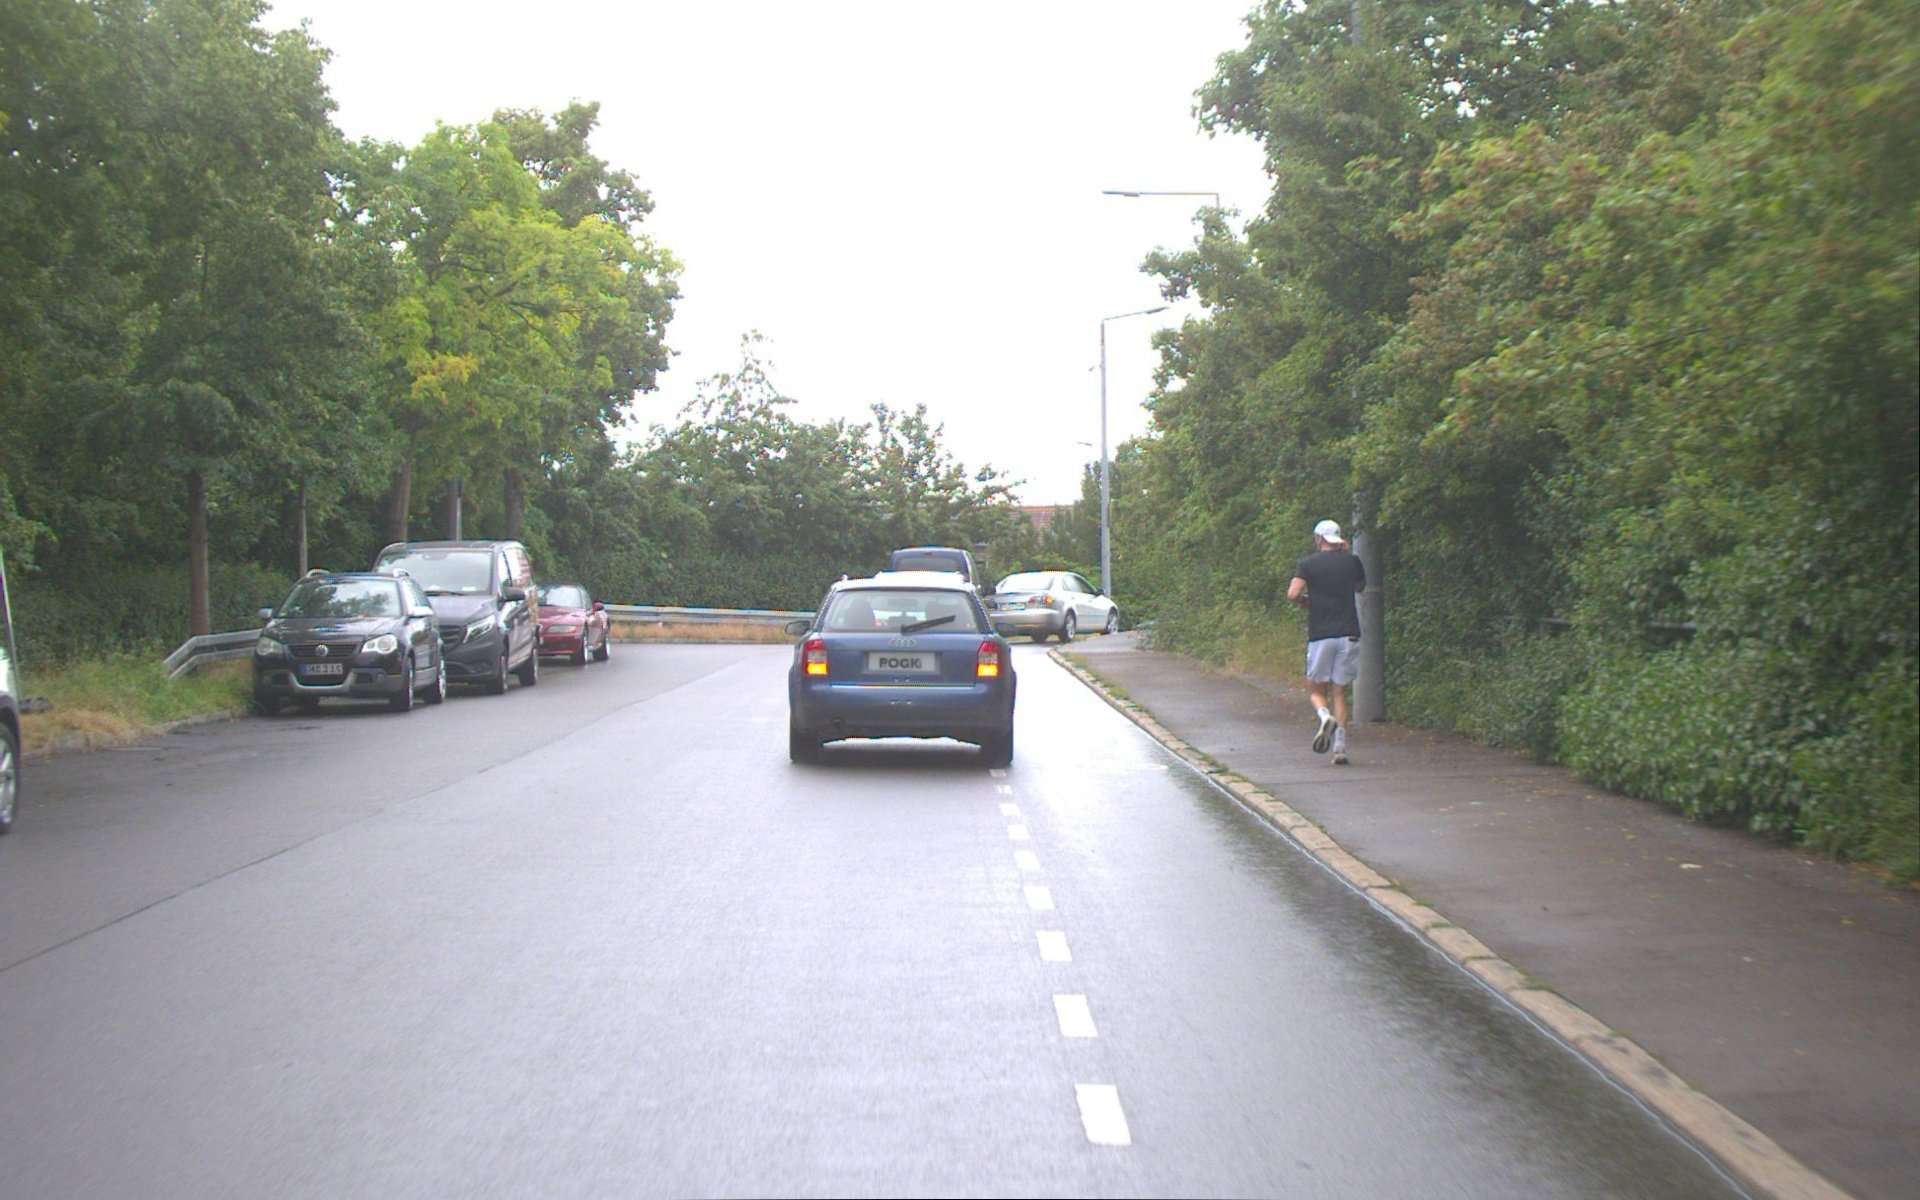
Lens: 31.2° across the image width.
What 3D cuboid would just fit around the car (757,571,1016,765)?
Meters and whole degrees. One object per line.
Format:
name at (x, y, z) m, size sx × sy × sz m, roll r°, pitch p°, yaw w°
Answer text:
car at (-0.659, 0.539, 27.470) m, size 1.747 × 1.403 × 4.000 m, roll -1°, pitch -1°, yaw -5°

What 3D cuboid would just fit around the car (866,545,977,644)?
car at (-0.684, -0.091, 59.402) m, size 1.822 × 1.611 × 3.785 m, roll -1°, pitch 0°, yaw -1°

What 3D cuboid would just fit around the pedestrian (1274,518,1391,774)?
pedestrian at (2.745, 0.329, 25.410) m, size 0.716 × 1.828 × 1.021 m, roll -2°, pitch 0°, yaw 2°

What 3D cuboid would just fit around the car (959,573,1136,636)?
car at (1.793, 0.086, 69.464) m, size 1.825 × 1.198 × 3.778 m, roll -1°, pitch 0°, yaw 34°

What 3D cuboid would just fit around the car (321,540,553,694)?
car at (-6.581, 0.208, 43.829) m, size 2.083 × 1.813 × 5.380 m, roll -1°, pitch 0°, yaw 0°

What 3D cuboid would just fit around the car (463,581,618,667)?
car at (-6.621, 0.369, 54.675) m, size 1.789 × 1.292 × 4.325 m, roll -1°, pitch 0°, yaw 2°

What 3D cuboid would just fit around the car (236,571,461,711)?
car at (-6.665, 0.426, 37.856) m, size 1.797 × 1.432 × 4.256 m, roll -1°, pitch 0°, yaw -1°

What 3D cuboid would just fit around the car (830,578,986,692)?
car at (-0.624, 0.430, 43.950) m, size 1.891 × 1.384 × 4.000 m, roll 0°, pitch 0°, yaw 0°

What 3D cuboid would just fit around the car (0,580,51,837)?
car at (-6.247, 0.618, 18.074) m, size 1.689 × 1.432 × 4.256 m, roll -1°, pitch 0°, yaw 2°
